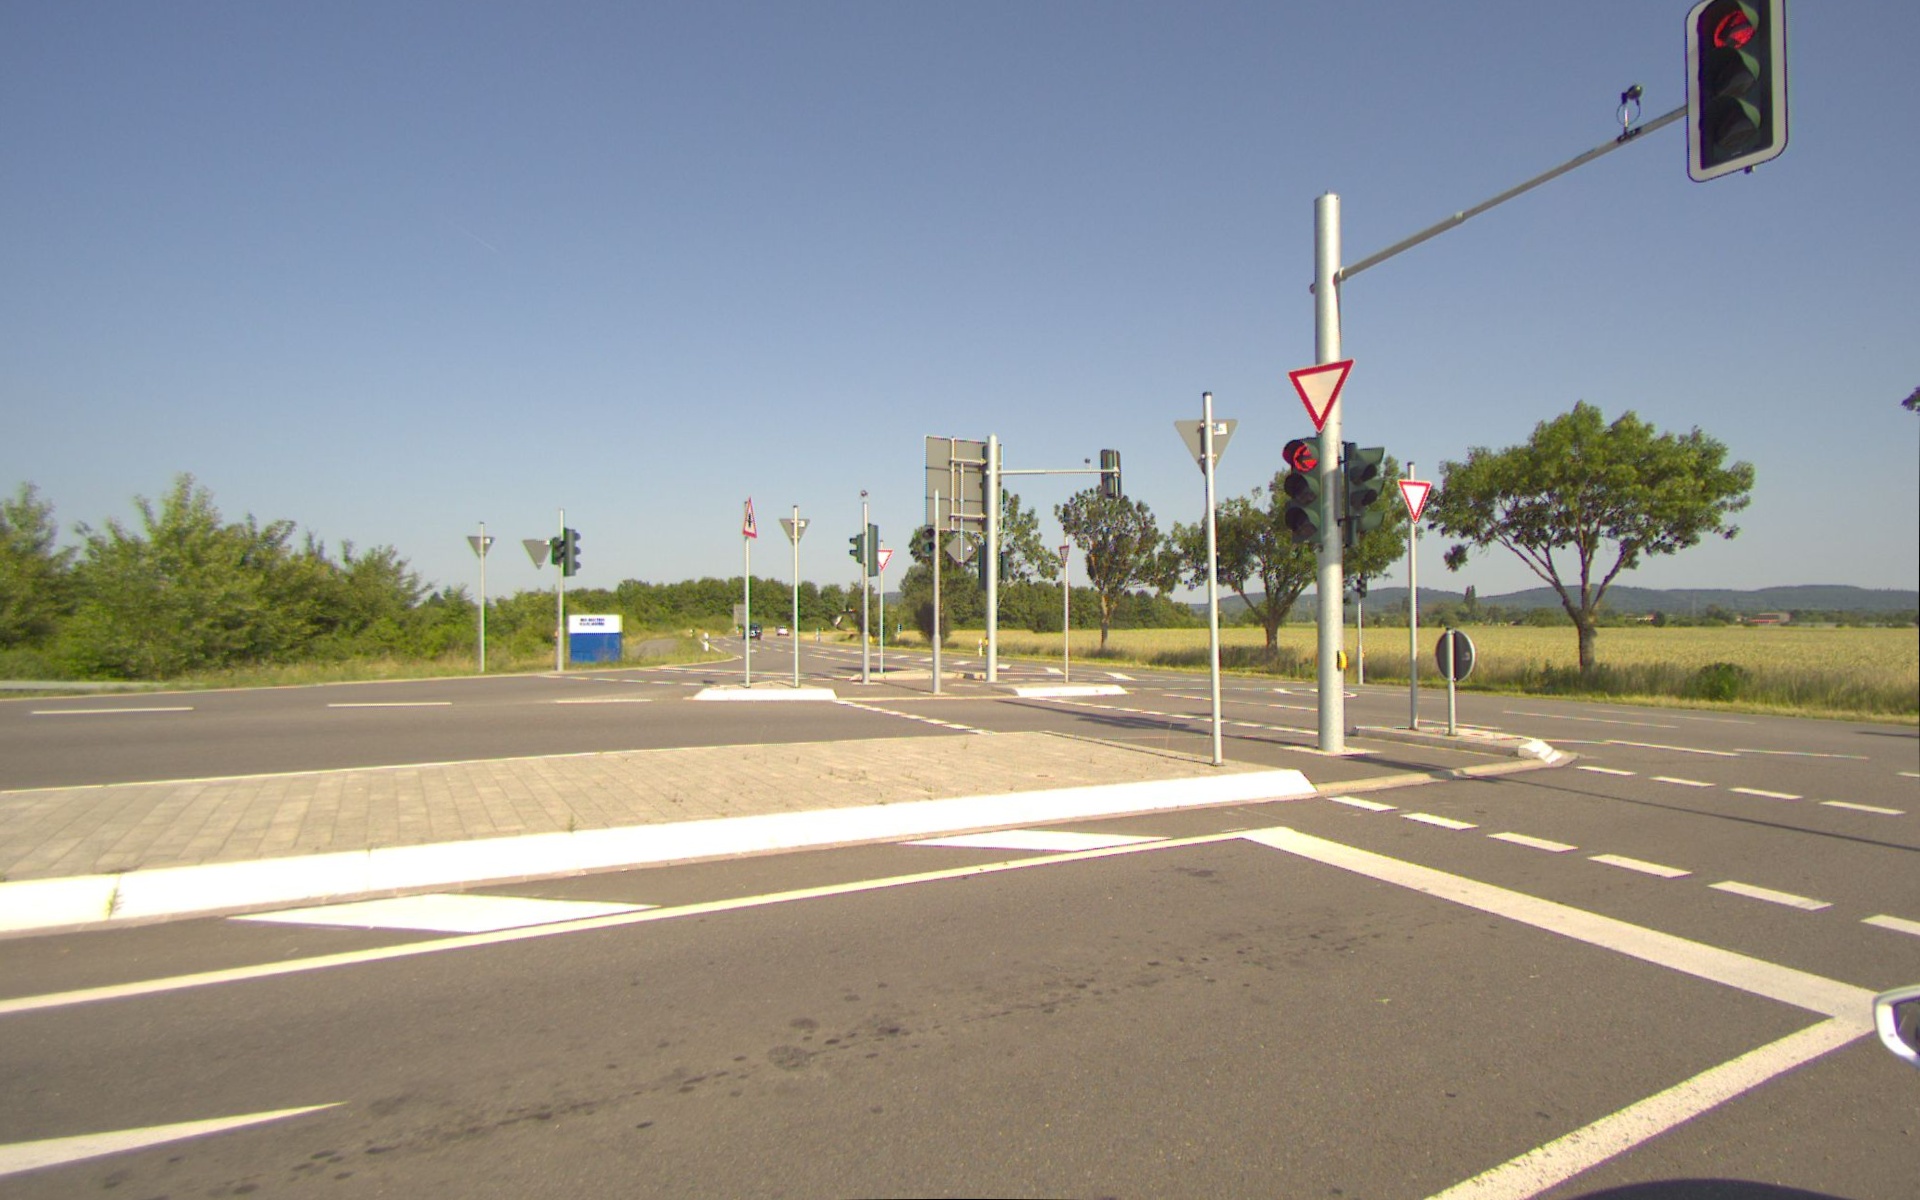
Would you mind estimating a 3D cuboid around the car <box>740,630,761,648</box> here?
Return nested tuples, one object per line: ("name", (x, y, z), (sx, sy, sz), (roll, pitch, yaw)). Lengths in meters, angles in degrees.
("car", (-22.903, 4.273, 109.932), (1.967, 1.746, 4.604), (2, 0, -15))
